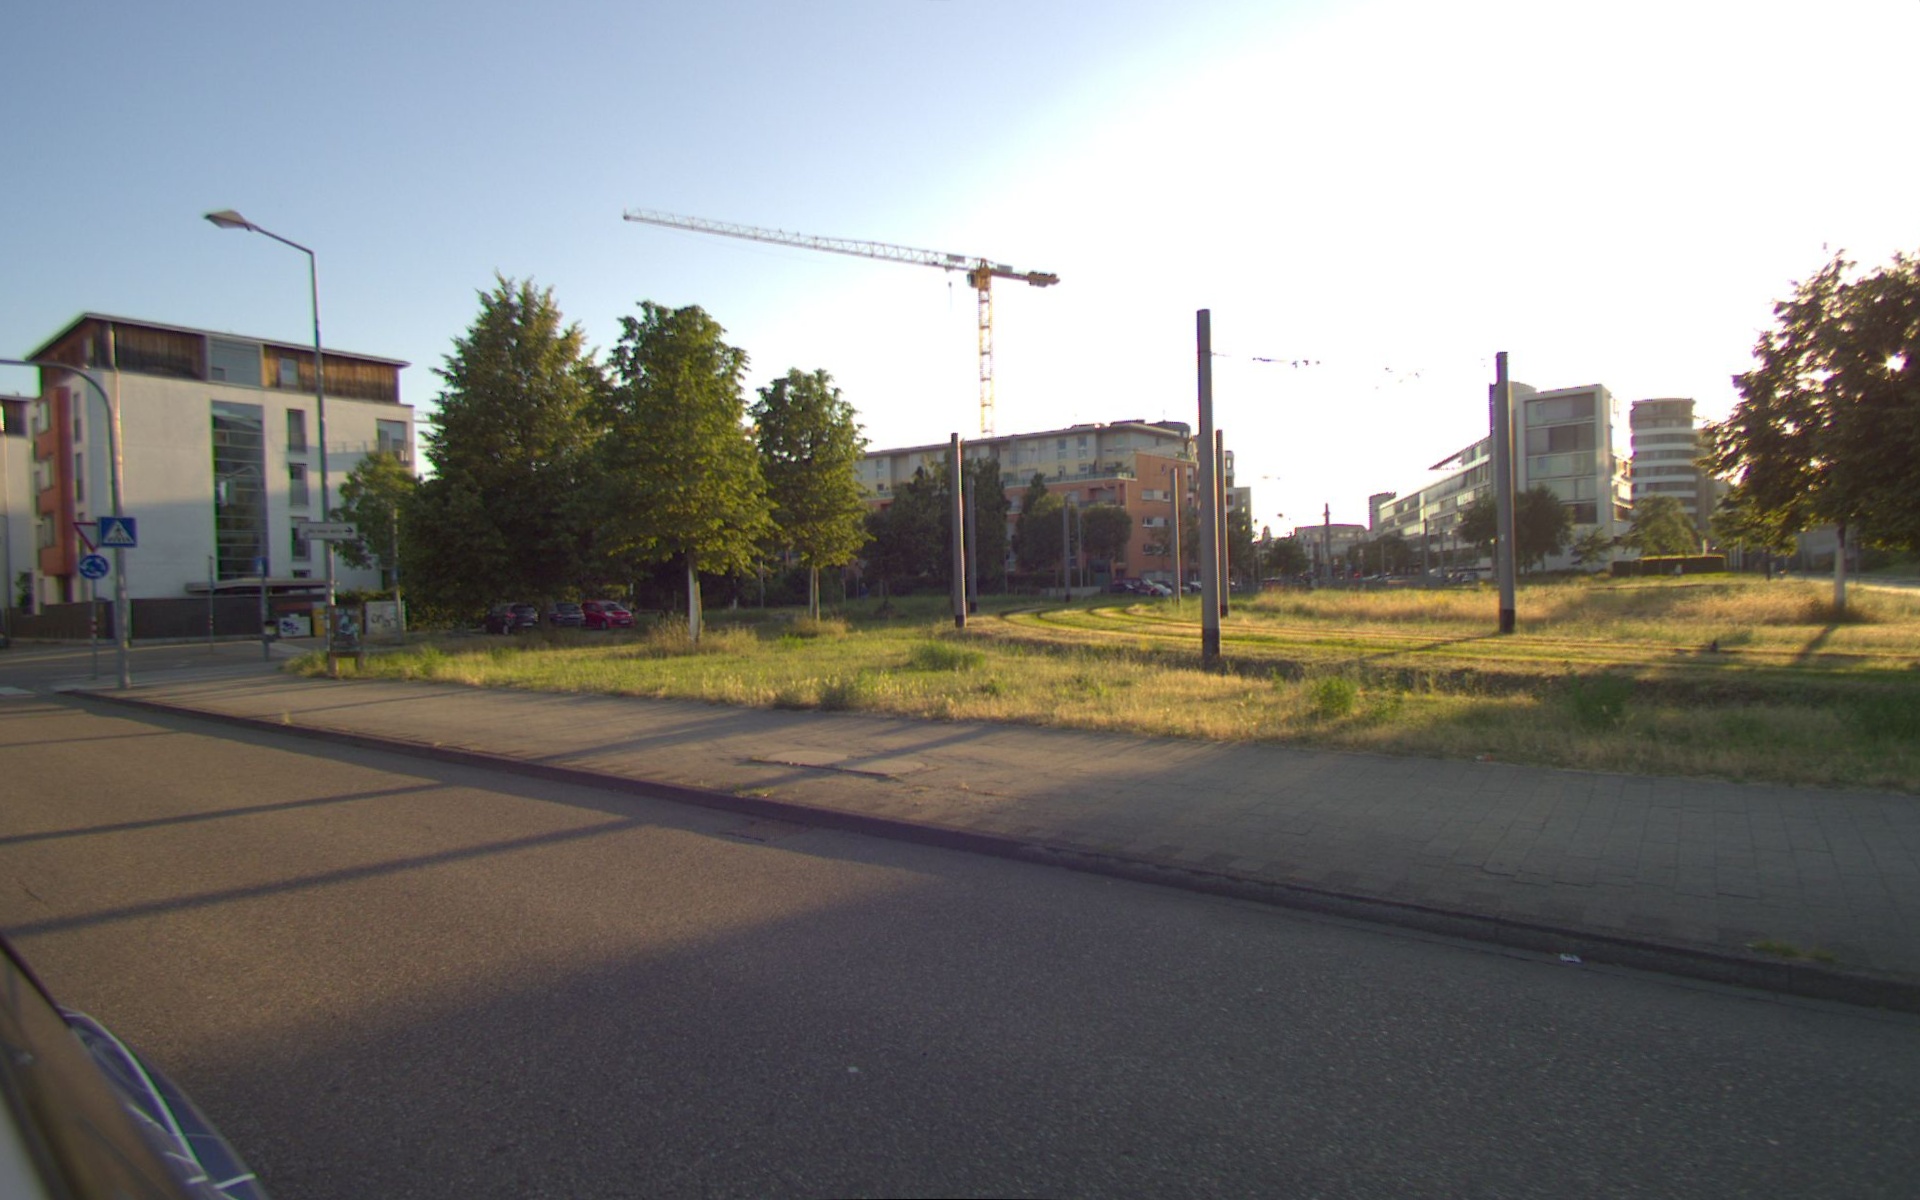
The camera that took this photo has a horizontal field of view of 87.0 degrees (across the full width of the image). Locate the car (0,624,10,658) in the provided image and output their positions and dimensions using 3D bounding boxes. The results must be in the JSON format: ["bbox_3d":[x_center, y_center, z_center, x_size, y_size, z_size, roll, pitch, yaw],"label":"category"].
[{"bbox_3d":[-44.822,1.936,44.439,1.677,1.468,4.243,-2,1,35],"label":"car"}]

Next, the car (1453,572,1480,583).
[{"bbox_3d":[84.621,-3.834,169.081,3.800,1.625,1.631,-3,0,38],"label":"car"}]

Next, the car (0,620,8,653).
[{"bbox_3d":[-48.674,1.938,48.123,1.710,1.566,4.725,-2,2,41],"label":"car"}]

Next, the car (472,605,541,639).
[{"bbox_3d":[-21.730,1.038,48.478,3.408,1.533,1.669,-1,1,40],"label":"car"}]

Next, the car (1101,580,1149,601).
[{"bbox_3d":[14.657,-0.837,89.855,3.870,1.707,1.683,-3,0,35],"label":"car"}]

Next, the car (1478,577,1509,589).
[{"bbox_3d":[80.173,-2.501,152.103,3.874,1.625,1.681,-3,0,38],"label":"car"}]

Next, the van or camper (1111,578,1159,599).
[{"bbox_3d":[15.906,-1.058,92.127,3.874,1.707,1.812,-3,0,38],"label":"van or camper"}]

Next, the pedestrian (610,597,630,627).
[{"bbox_3d":[-18.995,0.657,56.523,0.654,1.611,0.706,-1,2,30],"label":"pedestrian"}]

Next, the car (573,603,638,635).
[{"bbox_3d":[-18.156,0.960,51.755,3.408,1.511,1.574,-1,1,40],"label":"car"}]

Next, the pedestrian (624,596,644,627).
[{"bbox_3d":[-18.169,0.638,56.411,0.623,1.679,0.734,-1,2,36],"label":"pedestrian"}]

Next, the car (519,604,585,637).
[{"bbox_3d":[-20.112,1.011,49.843,3.408,1.511,1.574,-1,1,40],"label":"car"}]
